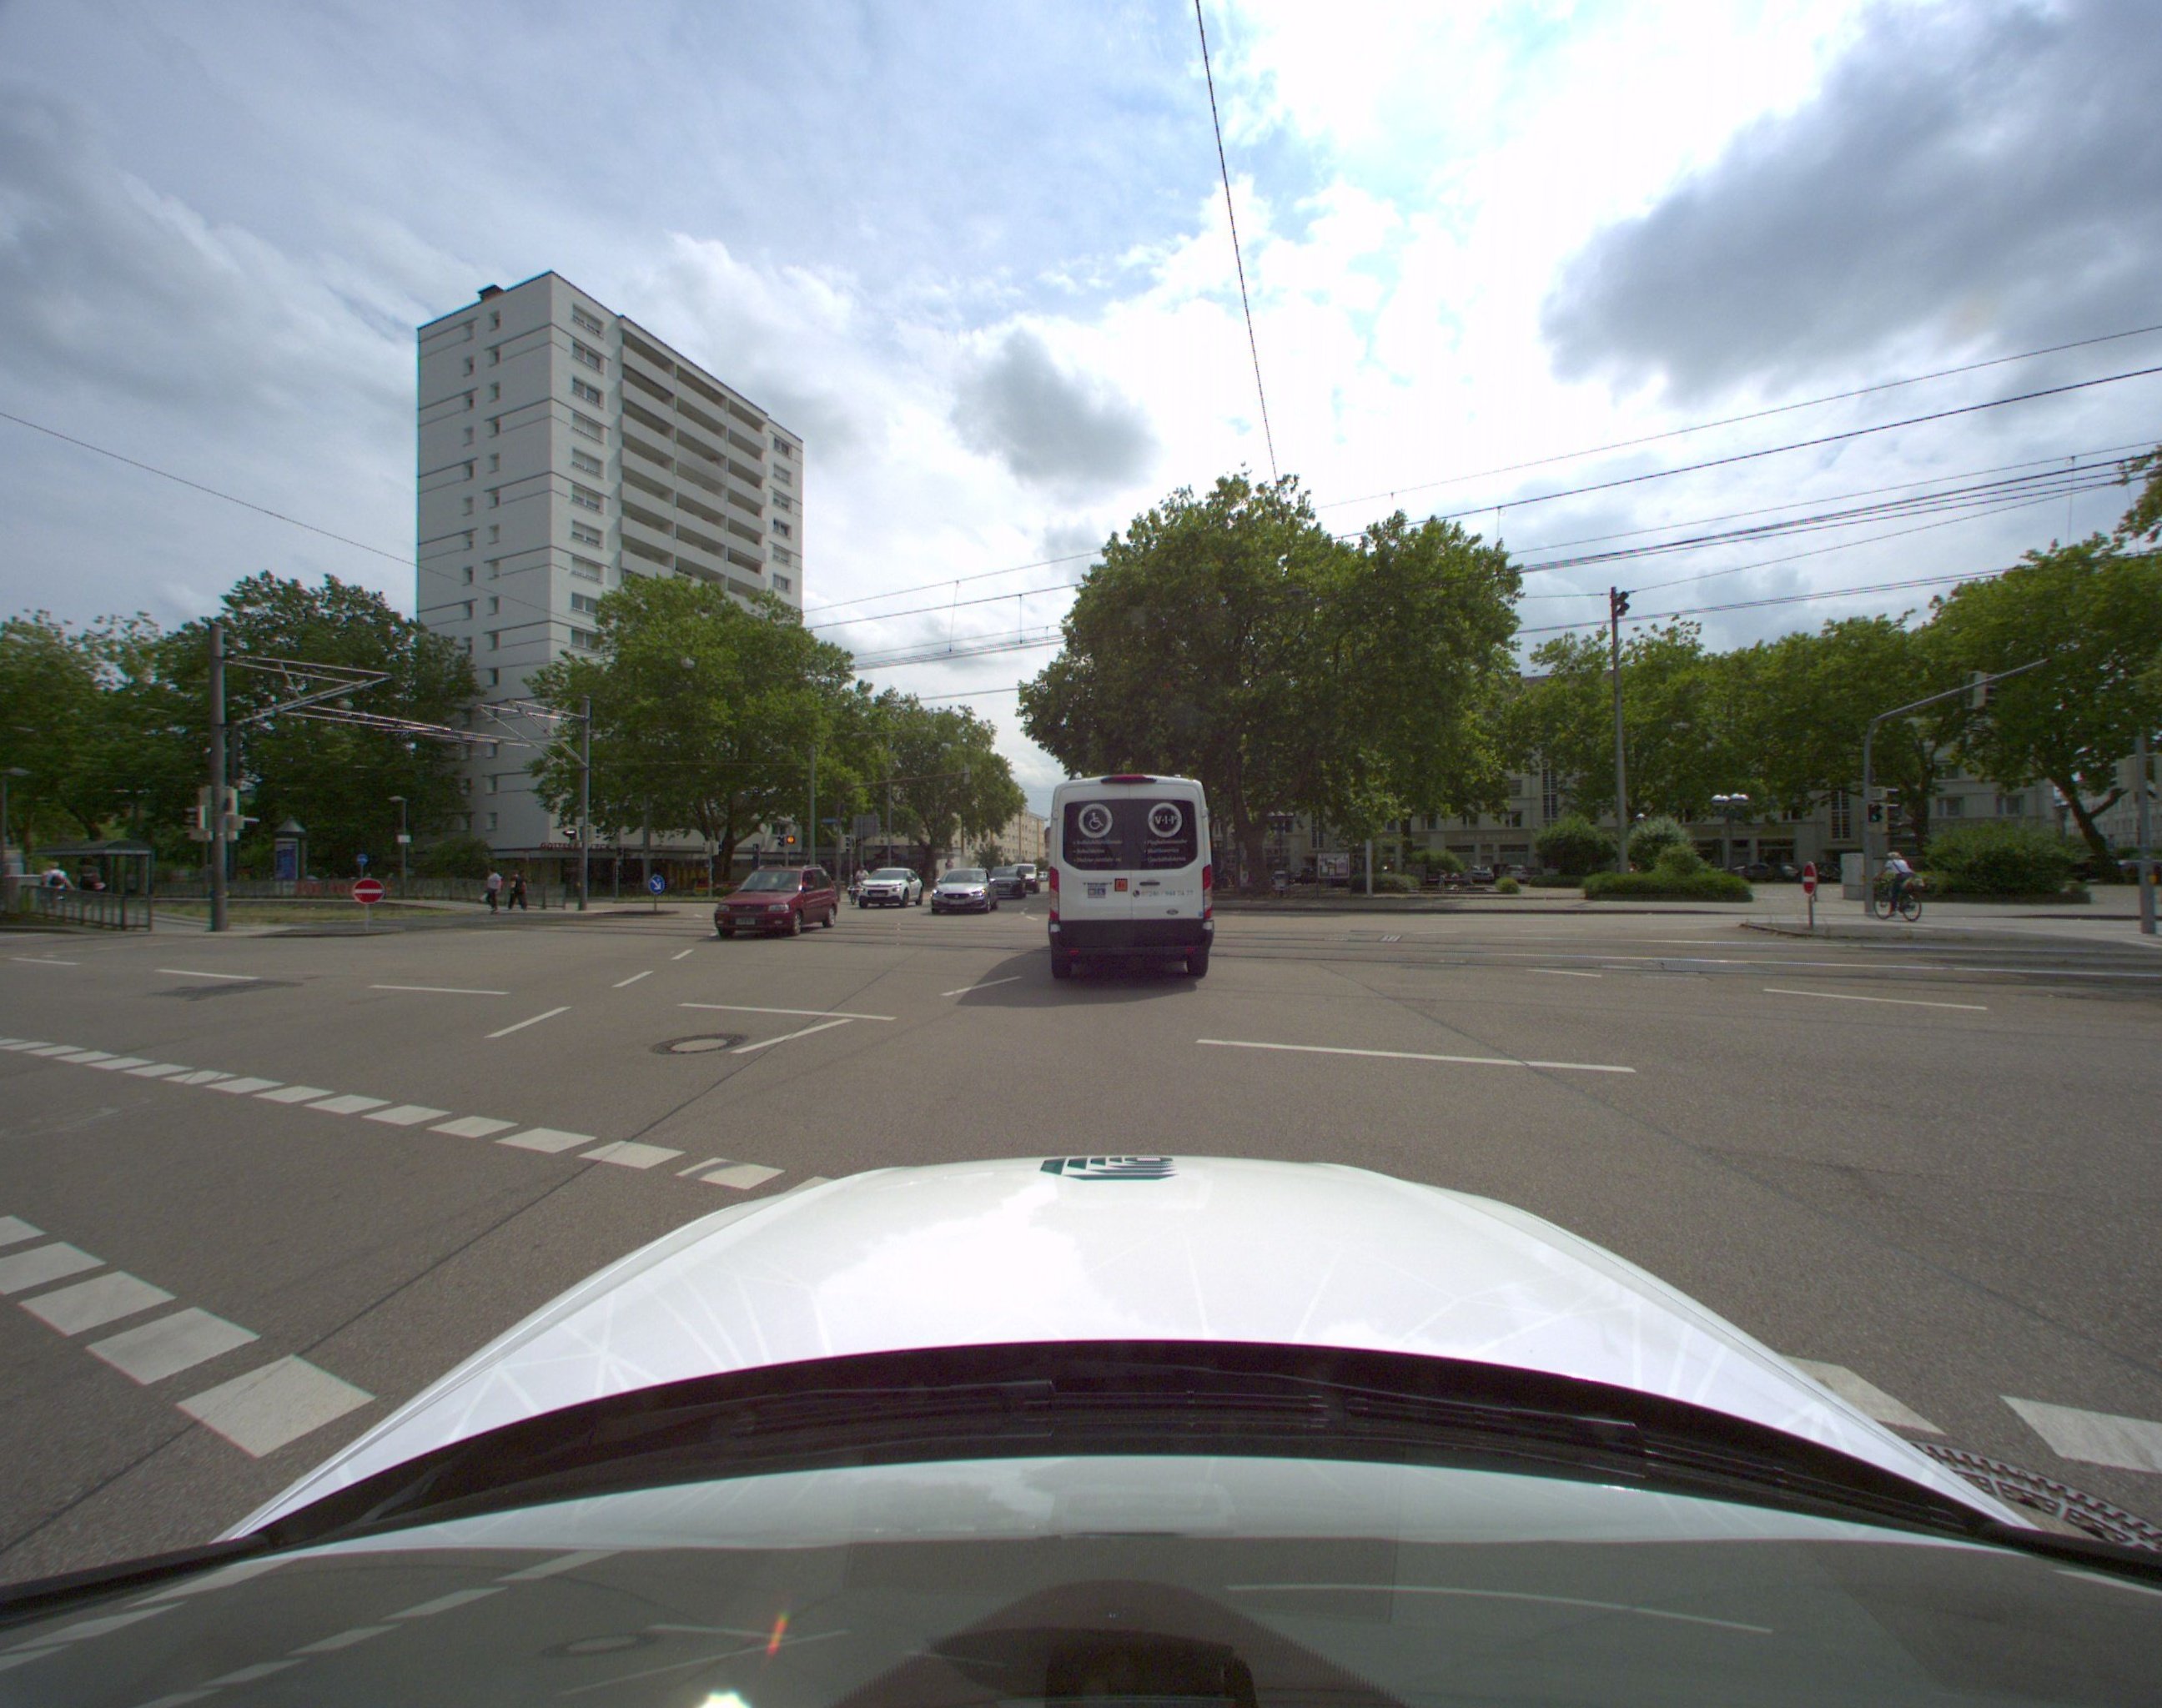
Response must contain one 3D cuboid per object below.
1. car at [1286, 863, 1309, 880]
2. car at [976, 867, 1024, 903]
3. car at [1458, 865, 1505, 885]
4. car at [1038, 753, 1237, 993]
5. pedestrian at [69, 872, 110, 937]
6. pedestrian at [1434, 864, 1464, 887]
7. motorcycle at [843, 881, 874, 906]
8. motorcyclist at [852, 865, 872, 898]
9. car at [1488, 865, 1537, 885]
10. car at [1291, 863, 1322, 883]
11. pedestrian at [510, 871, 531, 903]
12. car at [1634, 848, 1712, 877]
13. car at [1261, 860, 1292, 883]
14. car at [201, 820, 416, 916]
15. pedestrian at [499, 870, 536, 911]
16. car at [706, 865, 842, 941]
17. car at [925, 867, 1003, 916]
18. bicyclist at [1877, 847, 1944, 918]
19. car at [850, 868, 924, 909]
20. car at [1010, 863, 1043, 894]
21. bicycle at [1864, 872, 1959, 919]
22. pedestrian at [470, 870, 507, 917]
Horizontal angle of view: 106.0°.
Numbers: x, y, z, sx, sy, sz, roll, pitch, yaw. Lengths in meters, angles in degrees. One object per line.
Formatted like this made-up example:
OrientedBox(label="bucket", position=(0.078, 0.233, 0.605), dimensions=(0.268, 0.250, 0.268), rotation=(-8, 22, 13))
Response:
OrientedBox(label="car", position=(21.539, 1.736, 80.996), dimensions=(1.789, 1.684, 4.020), rotation=(-1, -1, 21))
OrientedBox(label="car", position=(-3.779, 1.427, 38.694), dimensions=(1.736, 1.588, 4.330), rotation=(-1, -1, 1))
OrientedBox(label="car", position=(31.952, 1.672, 65.125), dimensions=(1.985, 1.503, 4.004), rotation=(-1, -1, 4))
OrientedBox(label="car", position=(0.563, 0.214, 11.572), dimensions=(2.176, 2.648, 4.624), rotation=(-2, 0, -2))
OrientedBox(label="pedestrian", position=(-32.391, 1.637, 26.599), dimensions=(0.585, 2.086, 0.657), rotation=(-1, -1, 17))
OrientedBox(label="pedestrian", position=(21.253, 1.238, 47.084), dimensions=(1.086, 1.236, 1.442), rotation=(-3, -2, 3))
OrientedBox(label="motorcycle", position=(-9.561, 1.685, 35.045), dimensions=(0.681, 0.971, 2.322), rotation=(-1, -1, -1))
OrientedBox(label="motorcyclist", position=(-9.583, 1.205, 35.577), dimensions=(0.681, 1.395, 0.681), rotation=(-1, -1, -1))
OrientedBox(label="car", position=(34.198, 1.627, 64.679), dimensions=(1.985, 1.519, 4.004), rotation=(-1, -1, 4))
OrientedBox(label="car", position=(19.519, 1.664, 70.701), dimensions=(1.797, 1.684, 4.004), rotation=(-1, -1, 4))
OrientedBox(label="pedestrian", position=(-34.299, 2.019, 49.821), dimensions=(0.755, 1.884, 0.744), rotation=(-1, -1, 25))
OrientedBox(label="car", position=(40.479, 0.600, 55.774), dimensions=(3.951, 1.883, 1.867), rotation=(-1, -1, 23))
OrientedBox(label="car", position=(17.014, 1.518, 71.012), dimensions=(1.985, 1.931, 4.004), rotation=(-1, -1, 4))
OrientedBox(label="car", position=(-34.980, 0.660, 36.832), dimensions=(9.796, 3.915, 3.474), rotation=(-1, -1, 23))
OrientedBox(label="pedestrian", position=(-21.435, 1.379, 30.989), dimensions=(0.717, 1.514, 0.935), rotation=(-1, -1, 10))
OrientedBox(label="car", position=(-6.703, 1.012, 18.208), dimensions=(1.587, 1.508, 3.806), rotation=(-1, -1, 0))
OrientedBox(label="car", position=(-3.721, 1.155, 26.498), dimensions=(1.826, 1.427, 4.121), rotation=(-1, -1, 1))
OrientedBox(label="bicyclist", position=(20.294, 0.685, 19.950), dimensions=(0.896, 1.683, 0.761), rotation=(-1, -1, 22))
OrientedBox(label="car", position=(-7.192, 1.240, 30.591), dimensions=(1.736, 1.427, 4.033), rotation=(-1, -1, 1))
OrientedBox(label="car", position=(-3.560, 1.593, 54.001), dimensions=(1.736, 1.930, 4.854), rotation=(-1, -1, 1))
OrientedBox(label="bicycle", position=(20.343, 0.999, 20.014), dimensions=(0.895, 1.075, 1.980), rotation=(-1, -1, 22))
OrientedBox(label="pedestrian", position=(-20.437, 1.345, 28.111), dimensions=(0.800, 1.573, 0.727), rotation=(-1, -1, 23))
